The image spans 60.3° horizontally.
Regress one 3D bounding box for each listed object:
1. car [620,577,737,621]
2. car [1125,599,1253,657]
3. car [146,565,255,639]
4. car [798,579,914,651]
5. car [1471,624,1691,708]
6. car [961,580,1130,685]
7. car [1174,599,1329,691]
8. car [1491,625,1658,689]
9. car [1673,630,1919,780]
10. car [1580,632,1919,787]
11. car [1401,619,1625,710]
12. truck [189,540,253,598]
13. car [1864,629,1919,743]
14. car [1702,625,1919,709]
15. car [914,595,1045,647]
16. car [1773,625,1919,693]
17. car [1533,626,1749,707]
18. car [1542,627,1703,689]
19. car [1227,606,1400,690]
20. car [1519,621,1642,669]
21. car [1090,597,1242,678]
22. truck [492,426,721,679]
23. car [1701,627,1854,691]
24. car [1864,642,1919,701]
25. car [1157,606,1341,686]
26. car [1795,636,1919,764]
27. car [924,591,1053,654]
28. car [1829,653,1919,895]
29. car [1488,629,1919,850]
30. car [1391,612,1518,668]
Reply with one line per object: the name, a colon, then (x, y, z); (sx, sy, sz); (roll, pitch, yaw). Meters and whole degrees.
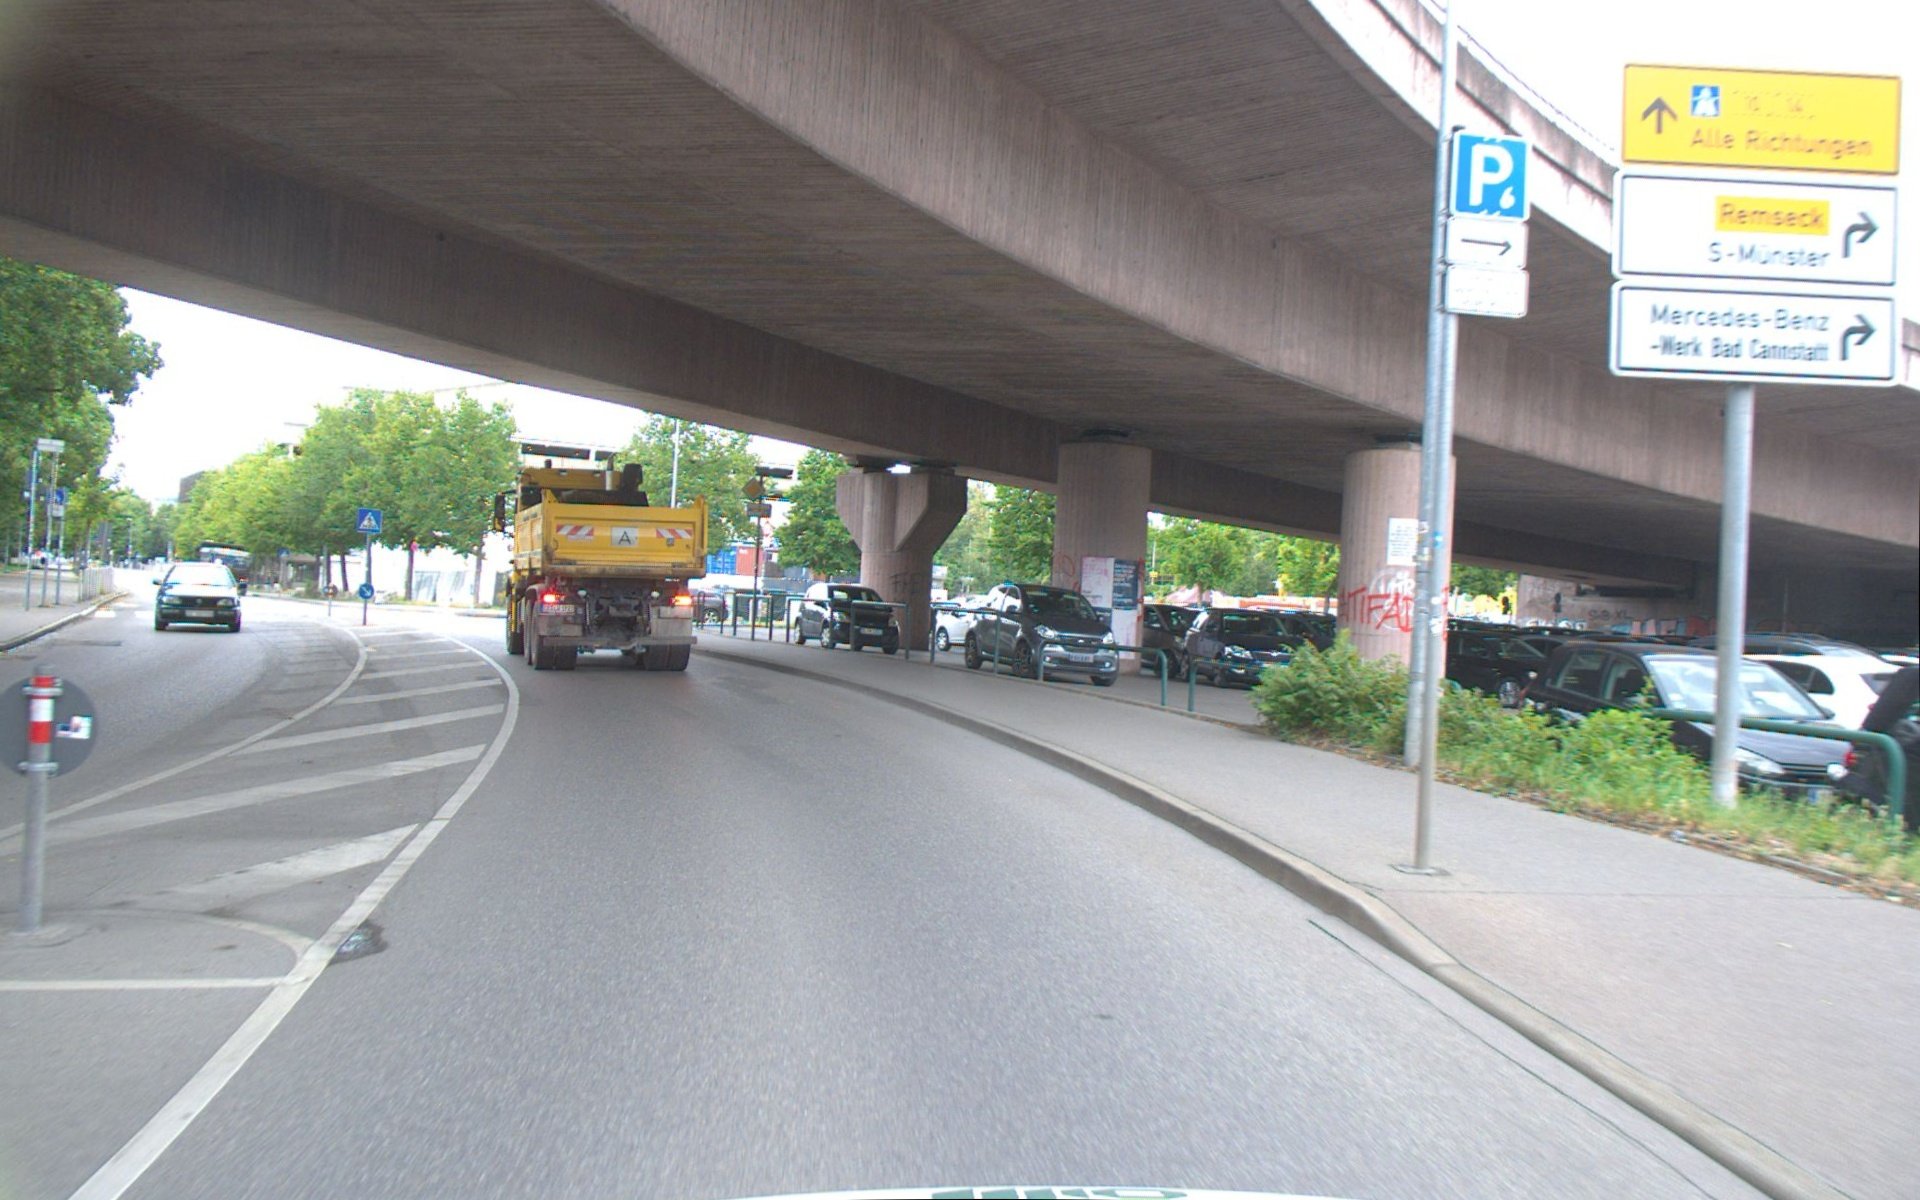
car: (-11.562, -0.032, 68.030); (4.467, 1.602, 1.835); (3, 0, -20)
car: (6.988, 0.845, 50.735); (1.680, 1.582, 3.812); (3, 0, -37)
car: (-16.492, 0.020, 36.073); (1.651, 1.455, 3.979); (3, 0, -18)
car: (-2.396, 0.302, 37.186); (1.583, 1.421, 3.558); (5, -1, -20)
car: (13.106, 1.370, 35.131); (1.813, 1.491, 4.149); (3, 0, -30)
car: (1.388, 0.503, 28.035); (1.583, 1.560, 3.390); (4, -1, -20)
car: (5.461, 0.847, 31.460); (1.752, 1.533, 3.852); (4, -2, -8)
car: (16.080, 1.475, 43.445); (1.813, 1.452, 3.823); (3, 0, -30)
car: (11.440, 1.305, 20.944); (1.813, 1.620, 4.149); (3, 0, -30)
car: (9.683, 1.218, 19.589); (1.813, 1.446, 4.149); (3, 0, -30)
car: (11.214, 1.281, 33.816); (1.813, 1.577, 4.149); (3, 0, -30)
truck: (-48.397, -1.940, 108.219); (2.649, 3.621, 7.832); (0, 0, -33)
car: (15.340, 1.335, 23.361); (1.813, 1.620, 4.149); (3, 0, -30)
car: (21.082, 1.604, 40.491); (2.063, 1.706, 5.054); (3, 0, -30)
car: (0.667, 0.705, 55.035); (4.195, 1.445, 1.493); (4, 1, -33)
car: (23.013, 1.494, 41.734); (1.813, 1.491, 4.149); (3, 0, -30)
car: (14.932, 1.434, 36.469); (1.813, 1.491, 4.149); (3, 0, -30)
car: (17.958, 1.551, 44.981); (1.656, 1.452, 3.823); (3, 0, -30)
car: (8.193, 1.094, 38.653); (1.813, 1.728, 3.823); (3, 0, -30)
car: (22.404, 1.621, 59.784); (1.739, 1.504, 3.812); (3, 0, -37)
car: (4.464, 0.789, 36.225); (1.510, 1.526, 3.340); (5, -1, -30)
truck: (-6.362, -0.700, 28.765); (2.718, 3.763, 7.830); (0, 0, -21)
car: (23.535, 1.689, 47.745); (1.656, 1.626, 3.626); (3, 0, -30)
car: (26.508, 1.972, 43.827); (1.813, 1.491, 4.149); (3, 0, -30)
car: (6.423, 0.999, 37.210); (1.810, 1.495, 4.343); (4, -1, -26)
car: (13.625, 1.401, 22.018); (1.813, 1.620, 4.149); (3, 0, -30)
car: (0.741, 0.597, 46.307); (1.619, 1.579, 3.965); (3, 0, -34)
car: (6.934, 1.156, 10.145); (1.510, 1.505, 2.757); (3, 0, -7)
car: (6.360, 1.083, 14.421); (1.697, 1.505, 4.243); (3, 0, -7)
car: (16.724, 1.334, 56.093); (1.739, 1.666, 3.812); (3, 0, -37)
